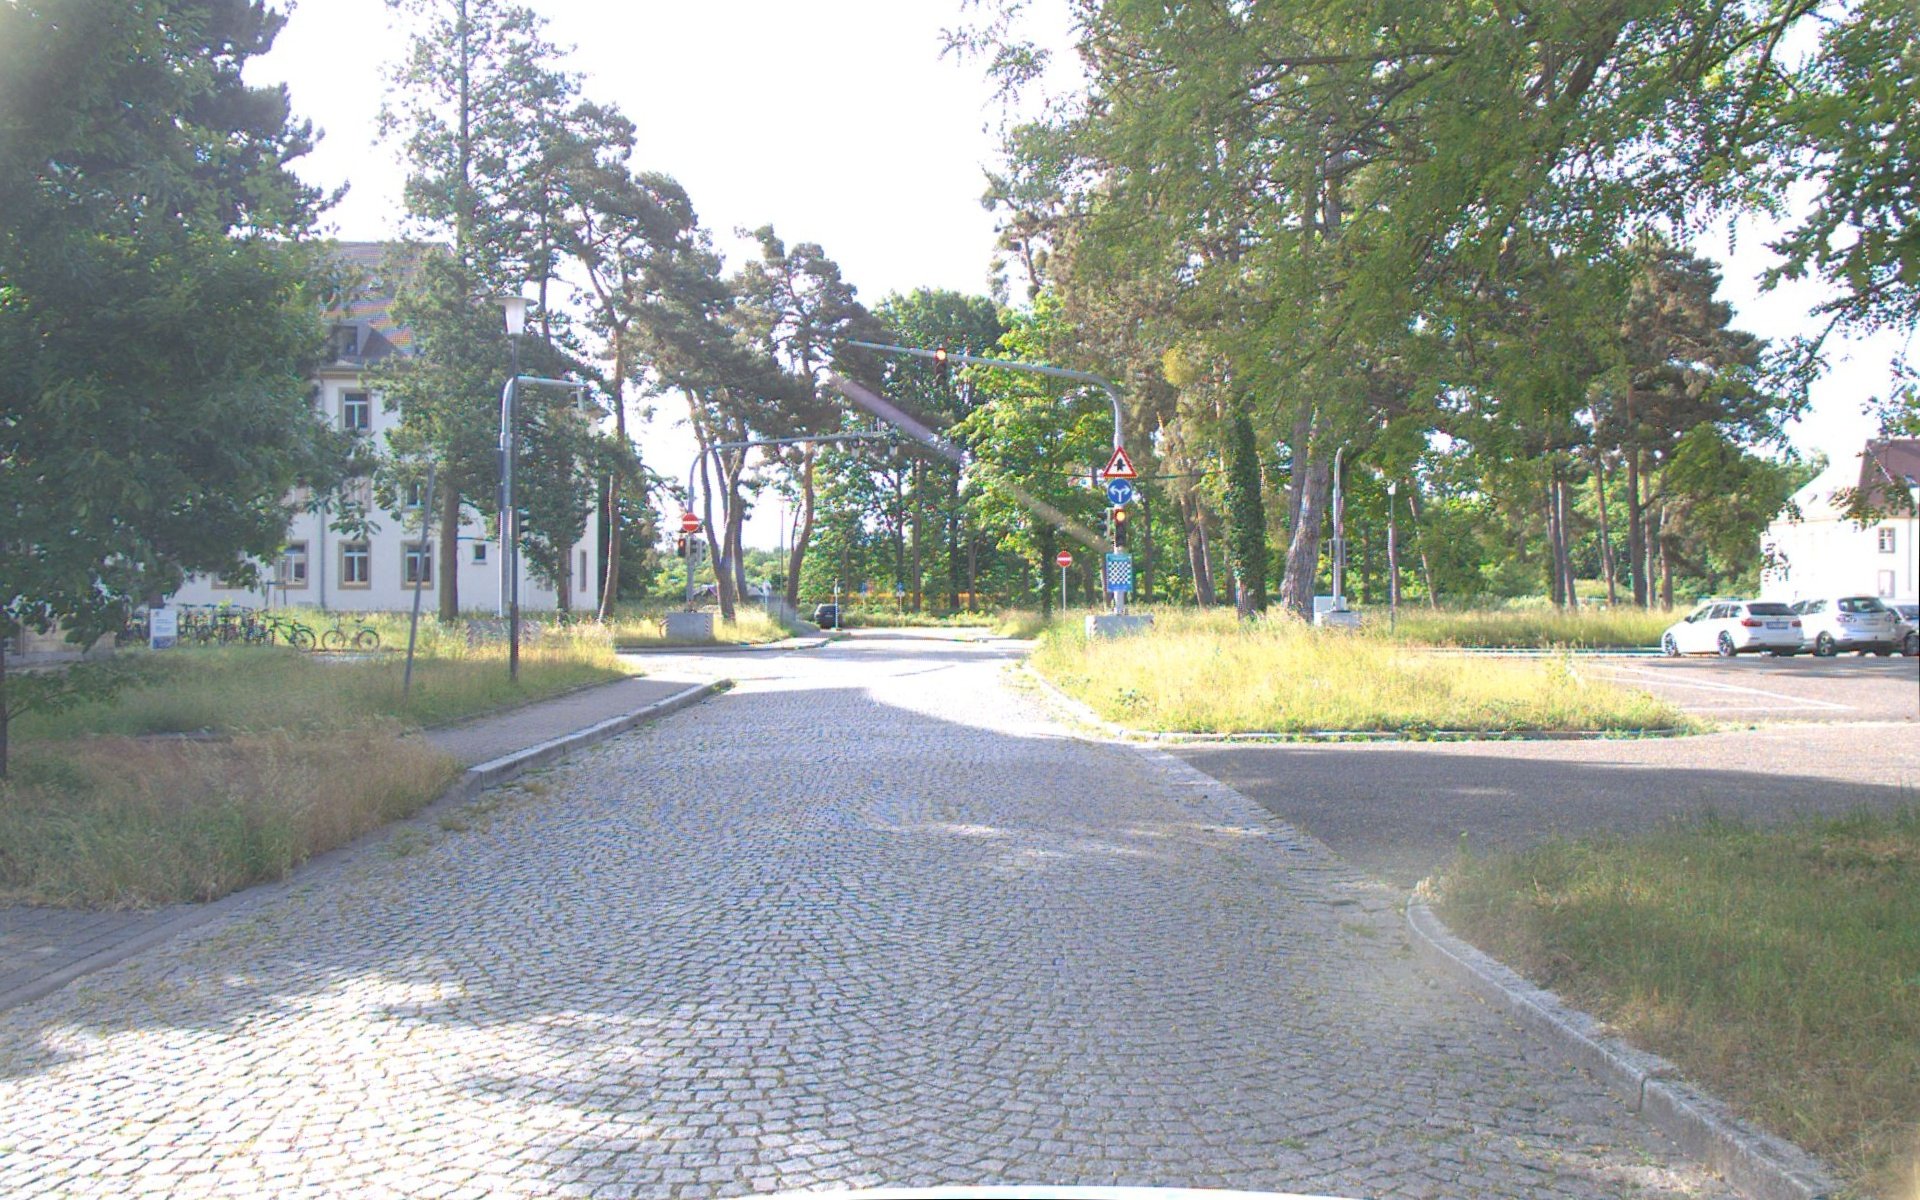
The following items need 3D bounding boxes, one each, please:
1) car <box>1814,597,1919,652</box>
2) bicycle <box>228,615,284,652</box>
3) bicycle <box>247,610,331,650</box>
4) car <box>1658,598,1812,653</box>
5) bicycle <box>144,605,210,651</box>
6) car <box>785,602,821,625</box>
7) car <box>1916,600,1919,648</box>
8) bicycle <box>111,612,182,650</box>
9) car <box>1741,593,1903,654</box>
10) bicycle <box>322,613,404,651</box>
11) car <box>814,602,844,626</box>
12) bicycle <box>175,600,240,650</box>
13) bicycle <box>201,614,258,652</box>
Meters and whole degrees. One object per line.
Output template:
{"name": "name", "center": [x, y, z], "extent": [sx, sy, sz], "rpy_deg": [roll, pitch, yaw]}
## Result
{"name": "car", "center": [24.713, 0.608, 43.784], "extent": [1.697, 1.335, 4.327], "rpy_deg": [-1, 0, -5]}
{"name": "bicycle", "center": [-20.875, 0.979, 49.090], "extent": [0.809, 1.065, 2.123], "rpy_deg": [0, 0, -2]}
{"name": "bicycle", "center": [-19.415, 0.874, 47.886], "extent": [2.076, 1.128, 0.828], "rpy_deg": [0, 0, -5]}
{"name": "car", "center": [20.015, 0.617, 42.936], "extent": [1.697, 1.335, 4.327], "rpy_deg": [0, 0, -5]}
{"name": "bicycle", "center": [-23.176, 0.811, 49.013], "extent": [0.809, 1.303, 2.553], "rpy_deg": [0, 0, -2]}
{"name": "car", "center": [-10.467, 0.885, 110.490], "extent": [1.745, 1.516, 3.757], "rpy_deg": [0, 0, 5]}
{"name": "car", "center": [27.712, 0.664, 44.074], "extent": [1.697, 1.335, 4.327], "rpy_deg": [-1, 0, -5]}
{"name": "bicycle", "center": [-24.060, 0.911, 48.985], "extent": [0.882, 1.065, 2.553], "rpy_deg": [0, 0, -2]}
{"name": "car", "center": [22.478, 0.581, 43.323], "extent": [1.697, 1.502, 4.327], "rpy_deg": [0, 0, -5]}
{"name": "bicycle", "center": [-17.334, 0.916, 48.048], "extent": [2.076, 1.065, 0.828], "rpy_deg": [0, 0, -5]}
{"name": "car", "center": [-8.365, 0.894, 105.802], "extent": [1.808, 1.512, 3.997], "rpy_deg": [0, 0, -4]}
{"name": "bicycle", "center": [-22.425, 0.735, 49.340], "extent": [0.809, 1.462, 2.553], "rpy_deg": [0, 0, -2]}
{"name": "bicycle", "center": [-21.641, 0.963, 49.022], "extent": [0.809, 1.065, 2.123], "rpy_deg": [0, 0, -2]}
